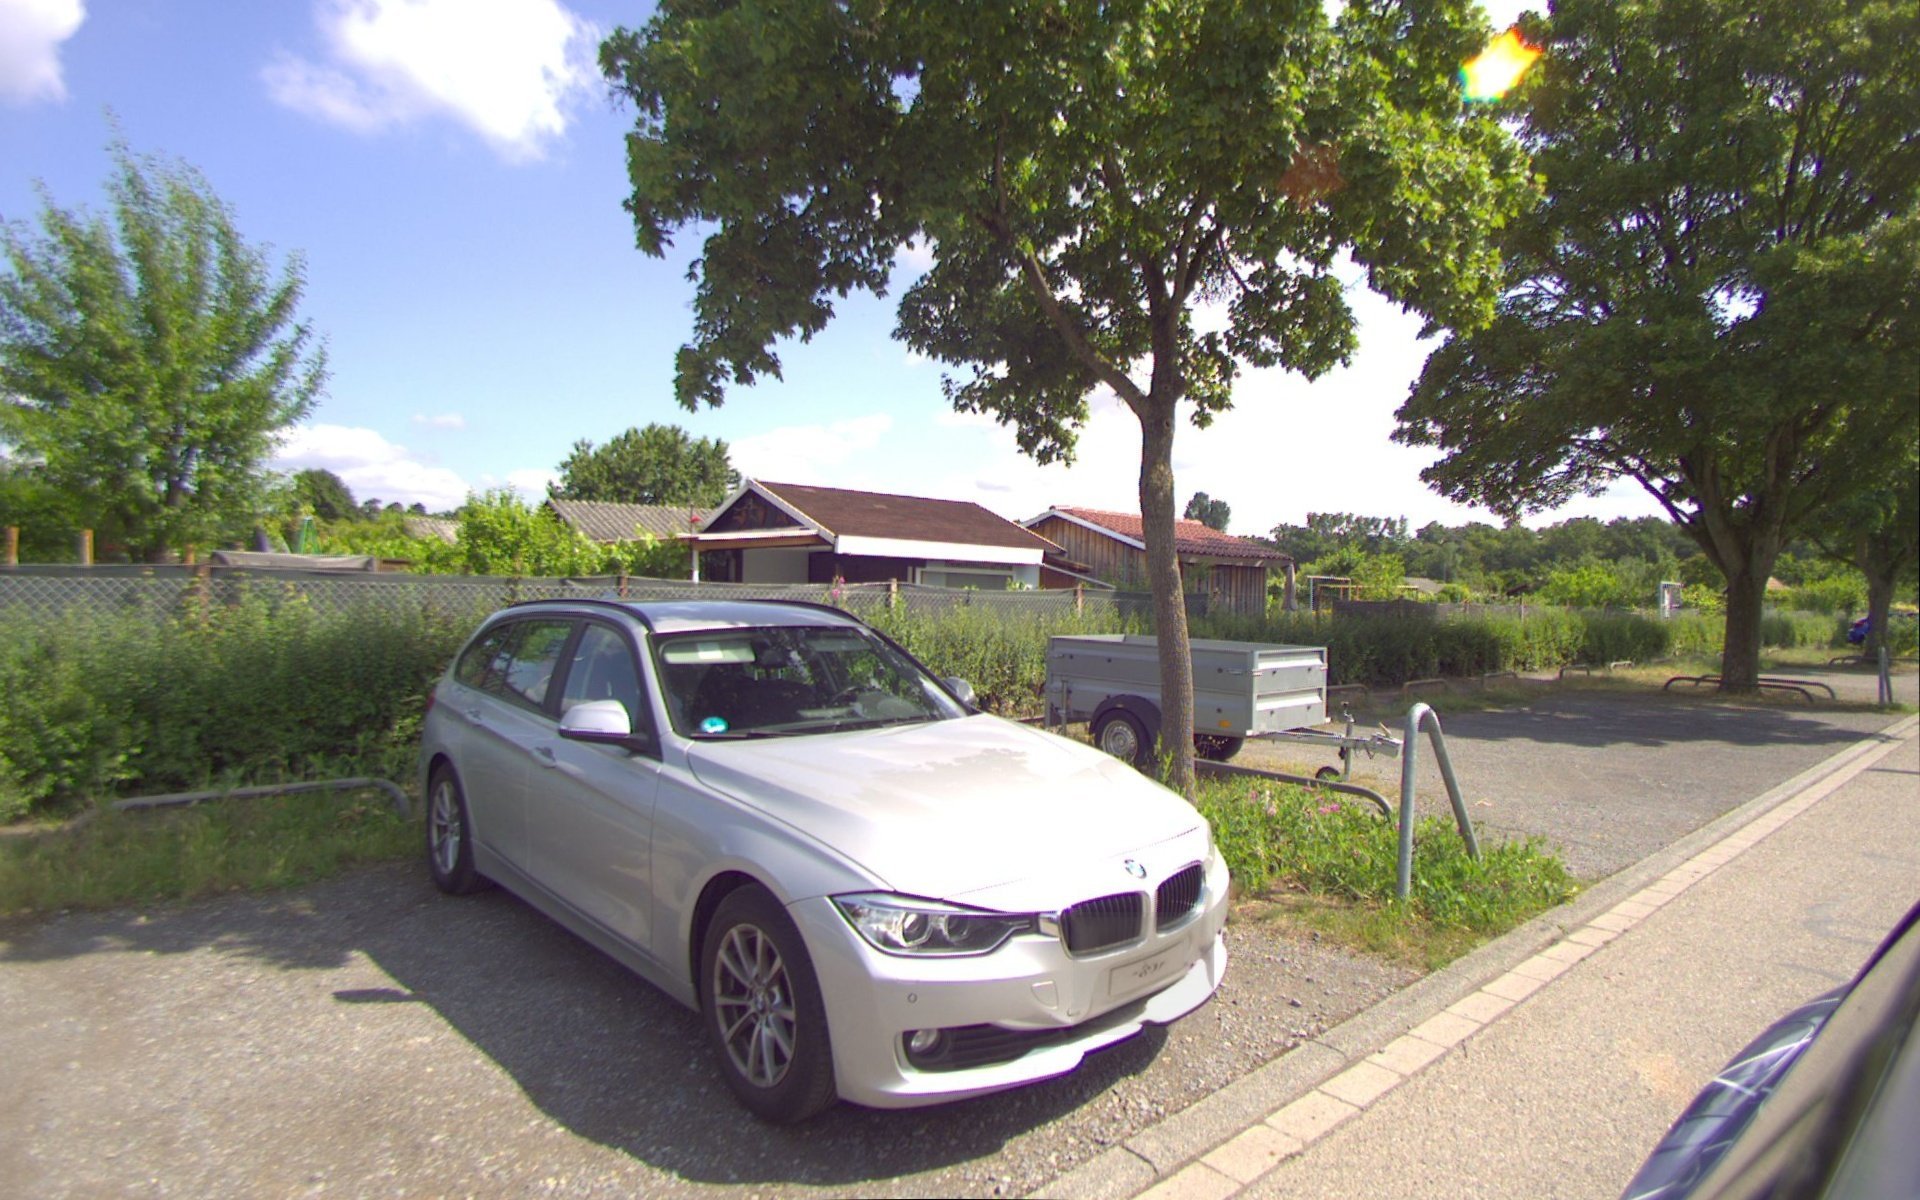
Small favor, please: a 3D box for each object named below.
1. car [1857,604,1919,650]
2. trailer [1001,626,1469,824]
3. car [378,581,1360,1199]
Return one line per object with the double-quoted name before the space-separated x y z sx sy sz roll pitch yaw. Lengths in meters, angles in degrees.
"car" 34.982 0.996 36.227 1.750 1.602 4.111 1 1 -42
"trailer" 2.096 0.835 8.195 1.965 1.157 3.106 0 0 -40
"car" -0.886 0.674 4.512 1.966 1.484 4.582 1 0 -43
